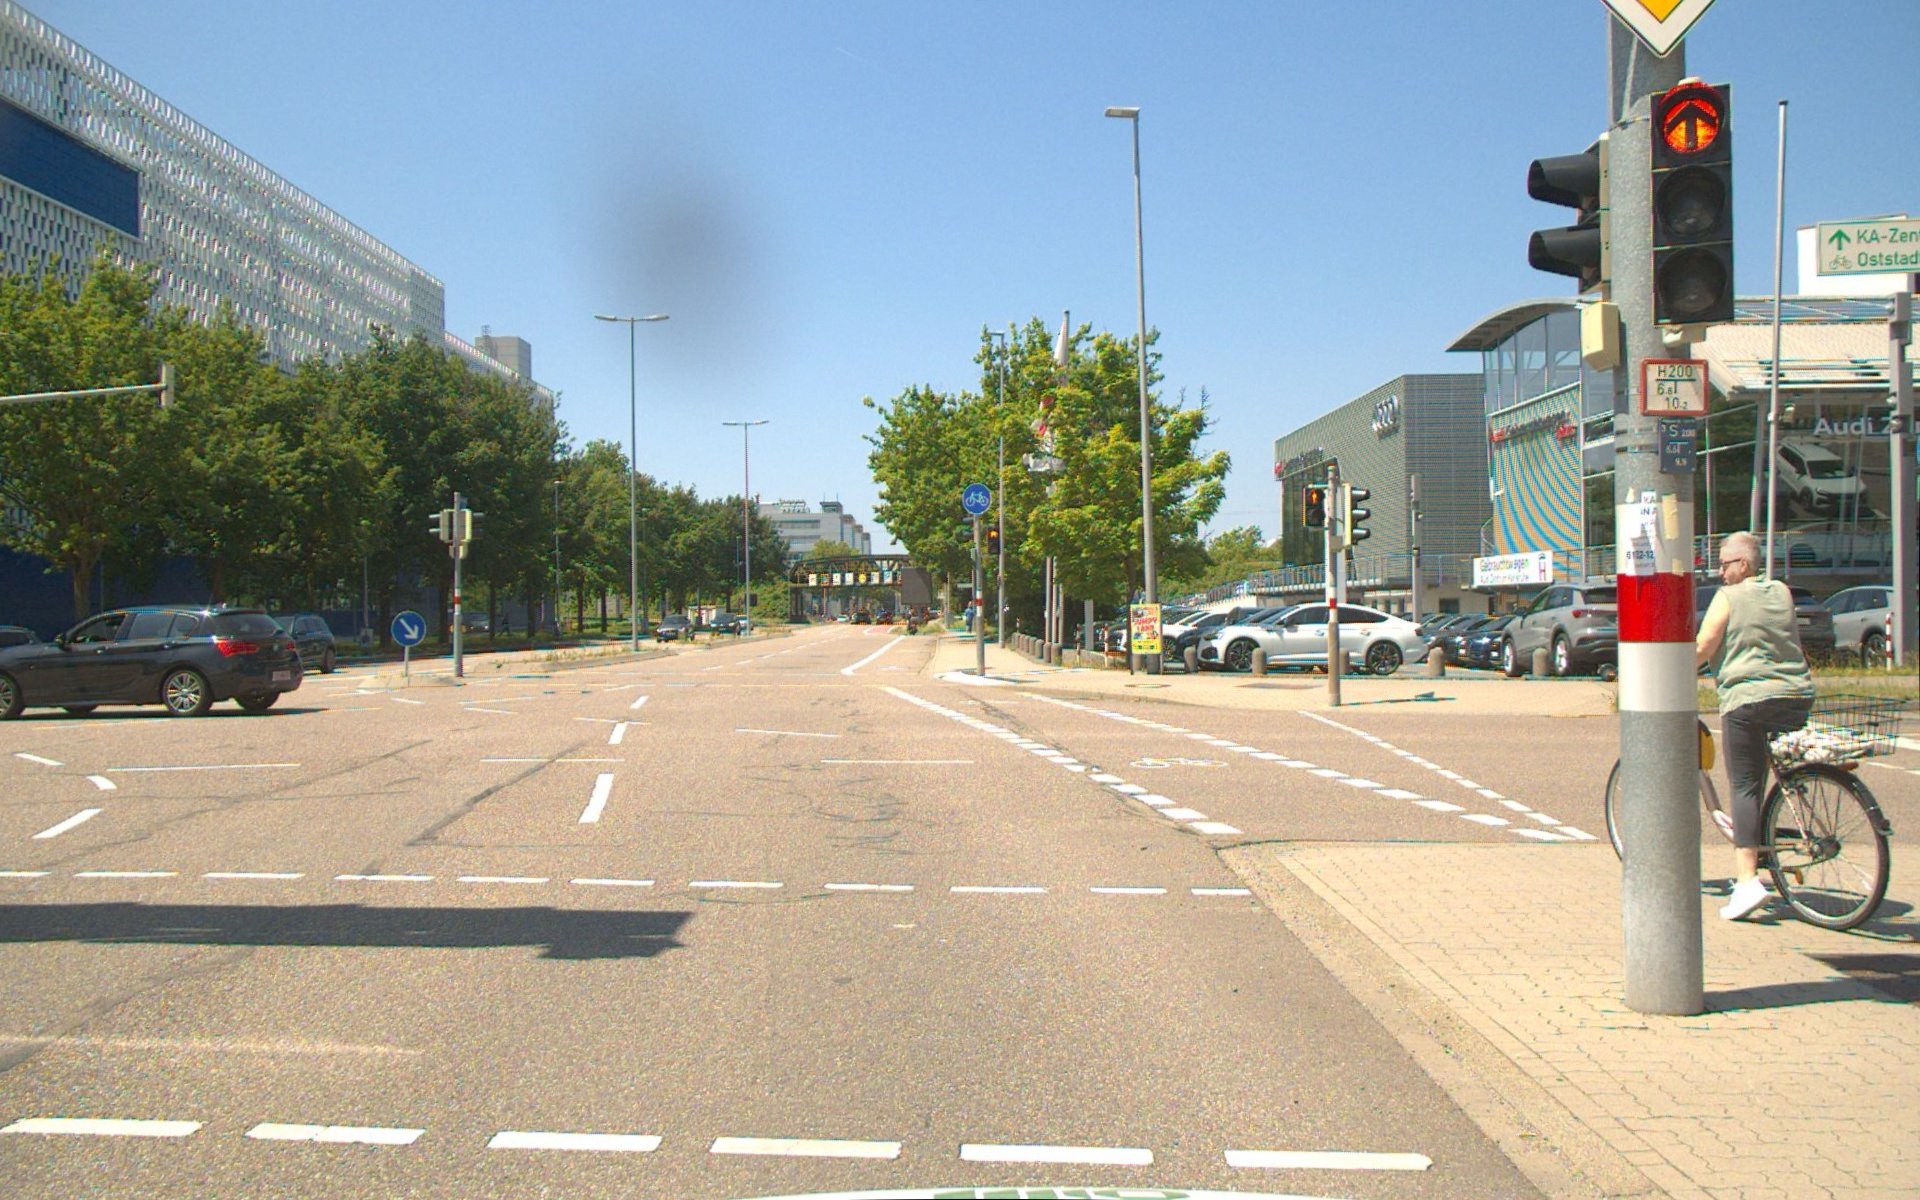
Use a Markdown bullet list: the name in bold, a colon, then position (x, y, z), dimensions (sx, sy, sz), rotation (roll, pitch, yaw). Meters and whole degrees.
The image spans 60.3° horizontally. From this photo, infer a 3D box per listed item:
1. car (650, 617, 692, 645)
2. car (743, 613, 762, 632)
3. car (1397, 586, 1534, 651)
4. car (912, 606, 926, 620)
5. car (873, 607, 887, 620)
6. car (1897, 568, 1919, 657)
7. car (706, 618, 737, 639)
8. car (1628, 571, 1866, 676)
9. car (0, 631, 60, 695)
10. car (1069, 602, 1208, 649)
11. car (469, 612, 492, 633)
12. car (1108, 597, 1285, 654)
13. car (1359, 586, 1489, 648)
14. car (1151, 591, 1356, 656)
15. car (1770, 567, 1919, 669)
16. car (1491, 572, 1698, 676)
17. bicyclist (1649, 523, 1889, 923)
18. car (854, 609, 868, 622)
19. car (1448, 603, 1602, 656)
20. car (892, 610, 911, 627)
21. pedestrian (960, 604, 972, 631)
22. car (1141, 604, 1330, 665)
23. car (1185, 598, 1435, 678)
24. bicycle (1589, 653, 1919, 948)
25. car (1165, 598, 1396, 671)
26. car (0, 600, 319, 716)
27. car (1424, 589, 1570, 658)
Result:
- **car**: position (-16.109, 1.696, 92.440), dimensions (1.697, 1.452, 3.705), rotation (-3, -1, -1)
- **car**: position (-19.397, 2.111, 154.637), dimensions (1.617, 1.682, 4.159), rotation (-1, 0, -5)
- **car**: position (16.663, 0.611, 54.630), dimensions (3.905, 2.049, 2.000), rotation (-1, 0, 0)
- **car**: position (-5.443, 1.724, 220.617), dimensions (1.736, 1.758, 3.999), rotation (-1, -1, -1)
- **car**: position (-10.609, 1.819, 219.623), dimensions (1.736, 1.758, 3.999), rotation (-1, -1, -1)
- **car**: position (18.840, 0.228, 29.290), dimensions (1.847, 1.668, 4.524), rotation (-1, 0, -1)
- **car**: position (-16.766, 2.014, 116.302), dimensions (1.650, 1.436, 3.664), rotation (-1, -1, -1)
- **car**: position (13.680, 0.359, 29.104), dimensions (1.953, 1.668, 4.557), rotation (-1, 0, -1)
- **car**: position (-25.393, 1.636, 42.468), dimensions (1.735, 1.560, 3.752), rotation (0, 1, 25)
- **car**: position (6.330, 0.906, 58.917), dimensions (4.646, 1.482, 1.999), rotation (-2, 0, -3)
- **car**: position (-45.287, 2.091, 156.095), dimensions (1.962, 1.842, 4.009), rotation (1, 0, -18)
- **car**: position (6.615, 0.708, 46.654), dimensions (4.646, 1.482, 1.999), rotation (-1, 0, -3)
- **car**: position (15.970, 0.585, 57.090), dimensions (3.905, 2.049, 2.000), rotation (-1, 0, 0)
- **car**: position (7.040, 0.552, 40.043), dimensions (4.643, 1.482, 2.000), rotation (-1, 0, 1)
- **car**: position (16.474, 0.258, 29.369), dimensions (1.953, 1.668, 4.440), rotation (-1, 0, -1)
- **car**: position (11.053, 0.380, 29.157), dimensions (1.953, 1.668, 4.267), rotation (-1, 0, -1)
- **bicyclist**: position (3.772, 0.548, 7.763), dimensions (0.719, 1.779, 0.753), rotation (0, 0, -5)
- **car**: position (-13.520, 2.161, 225.273), dimensions (1.736, 1.758, 3.999), rotation (-1, -1, -1)
- **car**: position (16.860, 0.873, 49.474), dimensions (4.008, 1.486, 1.719), rotation (-1, 0, 0)
- **car**: position (-3.717, 1.173, 105.156), dimensions (1.114, 1.060, 2.308), rotation (-1, 0, -1)
- **pedestrian**: position (0.327, 1.006, 95.757), dimensions (0.654, 1.537, 0.736), rotation (-1, 0, -1)
- **car**: position (7.262, 0.888, 43.874), dimensions (4.646, 1.482, 1.999), rotation (-1, 0, -3)
- **car**: position (6.986, 0.750, 33.392), dimensions (4.643, 1.482, 2.000), rotation (-1, 0, 1)
- **bicycle**: position (3.792, 0.863, 7.841), dimensions (0.771, 1.147, 1.919), rotation (0, 0, -4)
- **car**: position (6.889, 0.740, 35.896), dimensions (4.643, 1.482, 2.000), rotation (-1, -1, 1)
- **car**: position (-10.828, 0.753, 21.833), dimensions (4.132, 1.436, 1.673), rotation (-1, -1, 9)
- **car**: position (16.774, 0.722, 51.815), dimensions (3.905, 2.049, 2.000), rotation (-1, 0, 0)
